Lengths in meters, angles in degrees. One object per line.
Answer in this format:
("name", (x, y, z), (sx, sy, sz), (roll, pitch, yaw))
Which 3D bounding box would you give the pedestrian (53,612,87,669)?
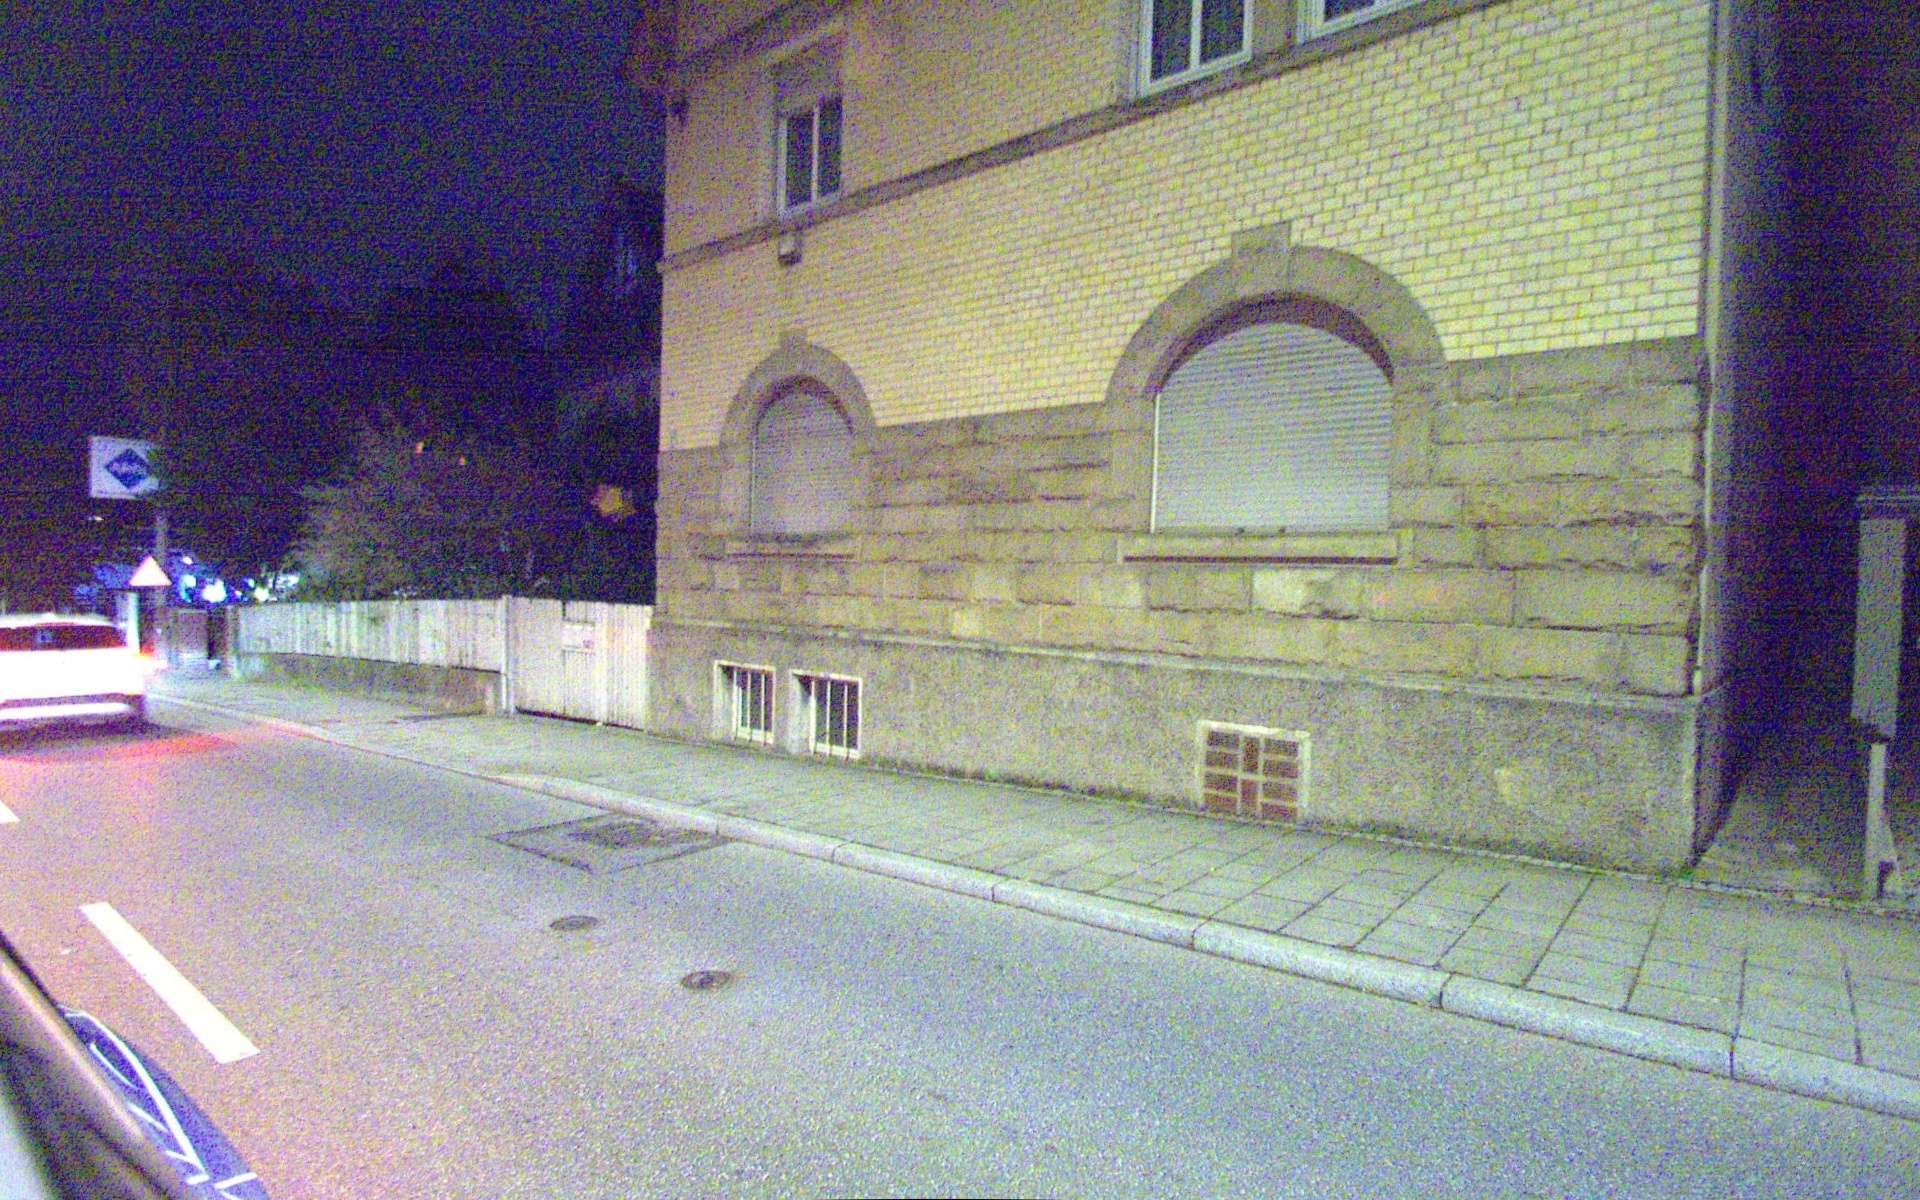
("pedestrian", (-27.918, 1.256, 31.738), (0.865, 1.739, 0.662), (-1, -1, 38))

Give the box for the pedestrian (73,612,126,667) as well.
("pedestrian", (-26.935, 1.231, 31.692), (0.734, 1.684, 1.102), (0, 0, 2))

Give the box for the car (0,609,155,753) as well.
("car", (-11.765, 0.927, 12.702), (4.024, 1.546, 1.838), (-1, 0, 40))
